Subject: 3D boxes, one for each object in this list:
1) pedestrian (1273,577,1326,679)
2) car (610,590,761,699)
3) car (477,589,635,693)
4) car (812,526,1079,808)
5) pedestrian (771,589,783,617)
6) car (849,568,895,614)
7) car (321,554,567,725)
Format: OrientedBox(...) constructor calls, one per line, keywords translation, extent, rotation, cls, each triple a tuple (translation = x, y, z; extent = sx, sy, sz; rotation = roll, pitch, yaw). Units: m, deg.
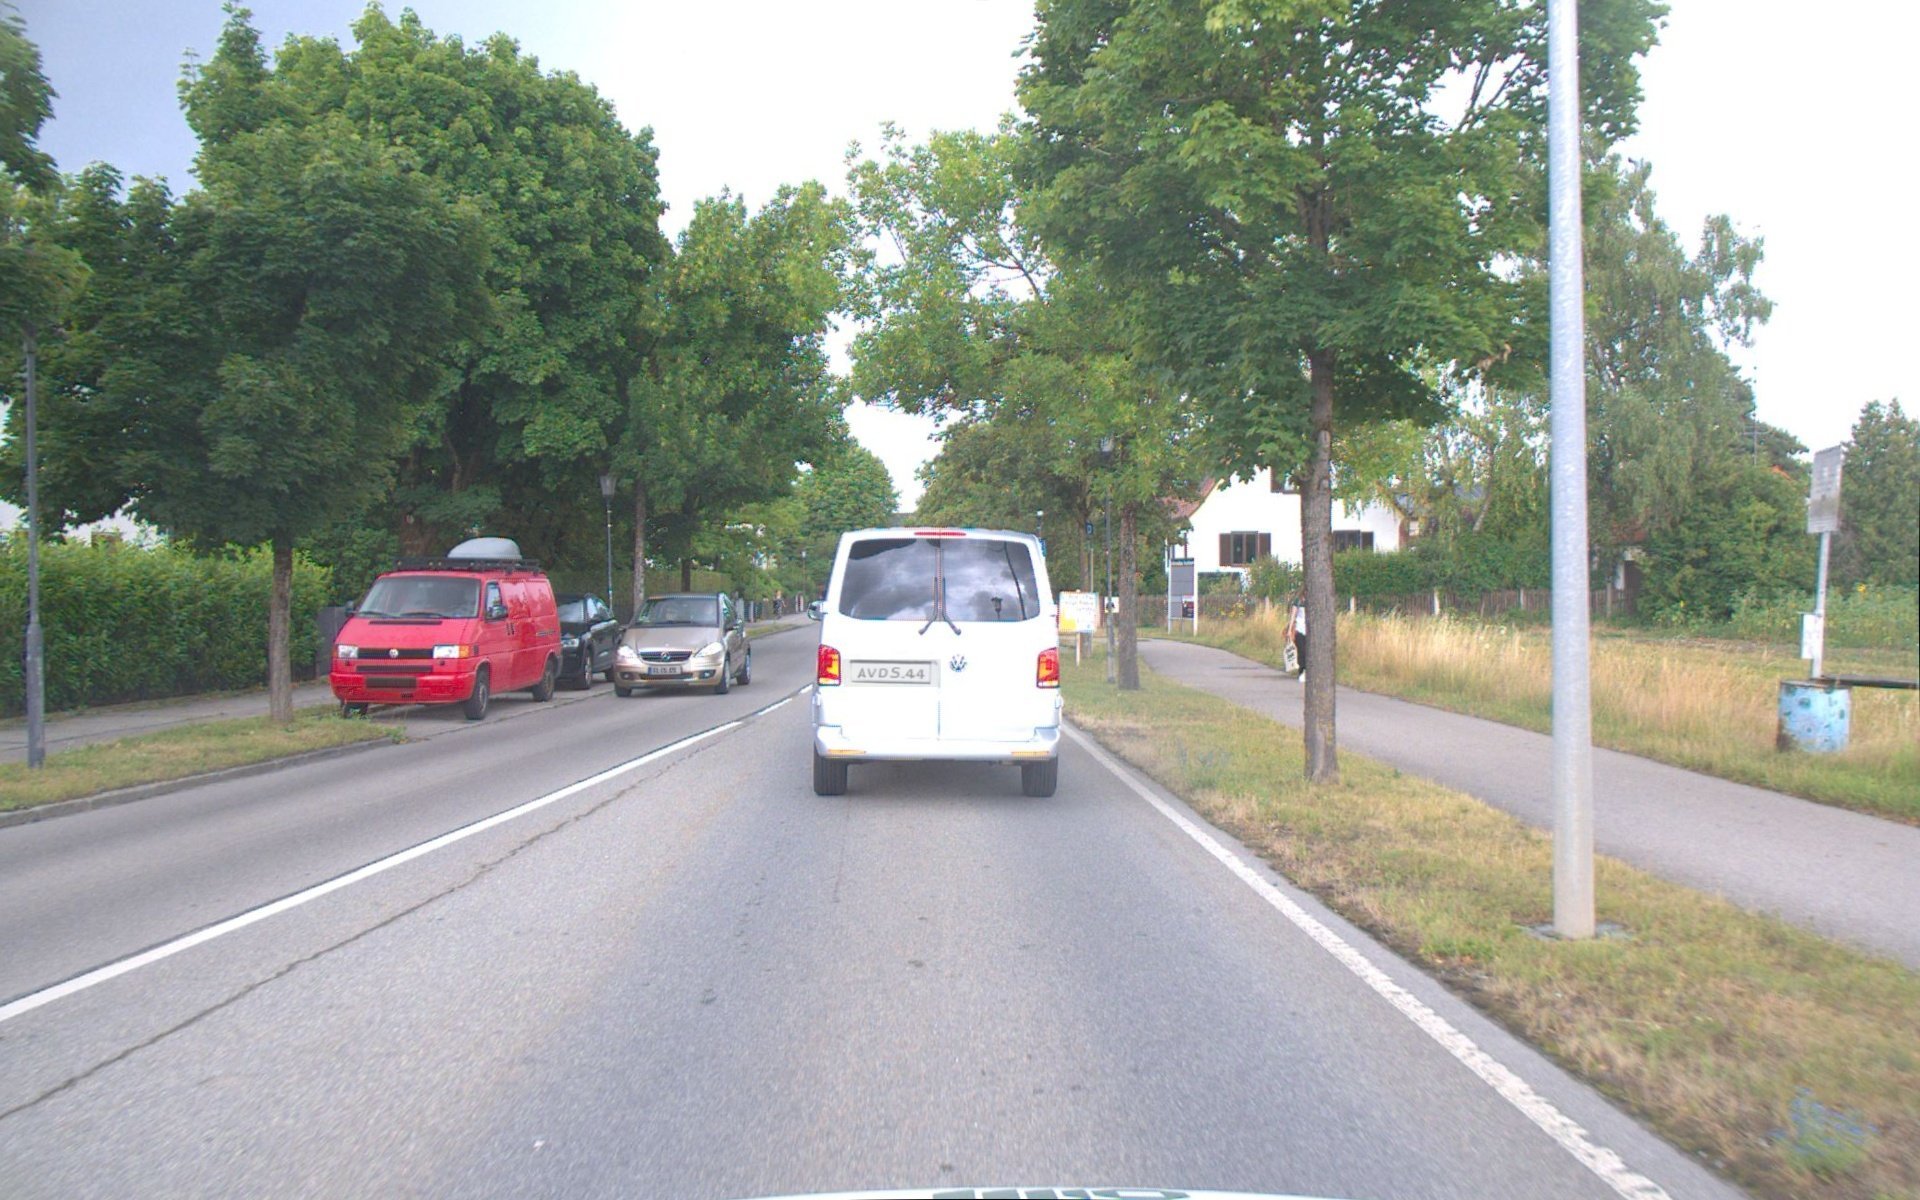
OrientedBox(translation=(6.008, 0.488, 29.306), extent=(0.820, 1.785, 0.870), rotation=(0, 0, 4), cls="pedestrian")
OrientedBox(translation=(-4.349, 0.662, 26.691), extent=(1.671, 1.559, 3.509), rotation=(-2, 1, 2), cls="car")
OrientedBox(translation=(-6.919, 0.650, 28.715), extent=(1.735, 1.626, 4.237), rotation=(0, 1, -1), cls="car")
OrientedBox(translation=(-0.142, 0.458, 13.435), extent=(1.849, 1.945, 3.999), rotation=(0, 0, -1), cls="car")
OrientedBox(translation=(-10.171, 0.164, 92.104), extent=(0.610, 1.576, 0.522), rotation=(1, 0, -5), cls="pedestrian")
OrientedBox(translation=(-4.068, -0.408, 76.834), extent=(1.953, 2.049, 3.999), rotation=(1, 0, -1), cls="car")
OrientedBox(translation=(-6.917, 0.456, 22.775), extent=(1.792, 2.066, 5.046), rotation=(1, 1, 0), cls="car")
